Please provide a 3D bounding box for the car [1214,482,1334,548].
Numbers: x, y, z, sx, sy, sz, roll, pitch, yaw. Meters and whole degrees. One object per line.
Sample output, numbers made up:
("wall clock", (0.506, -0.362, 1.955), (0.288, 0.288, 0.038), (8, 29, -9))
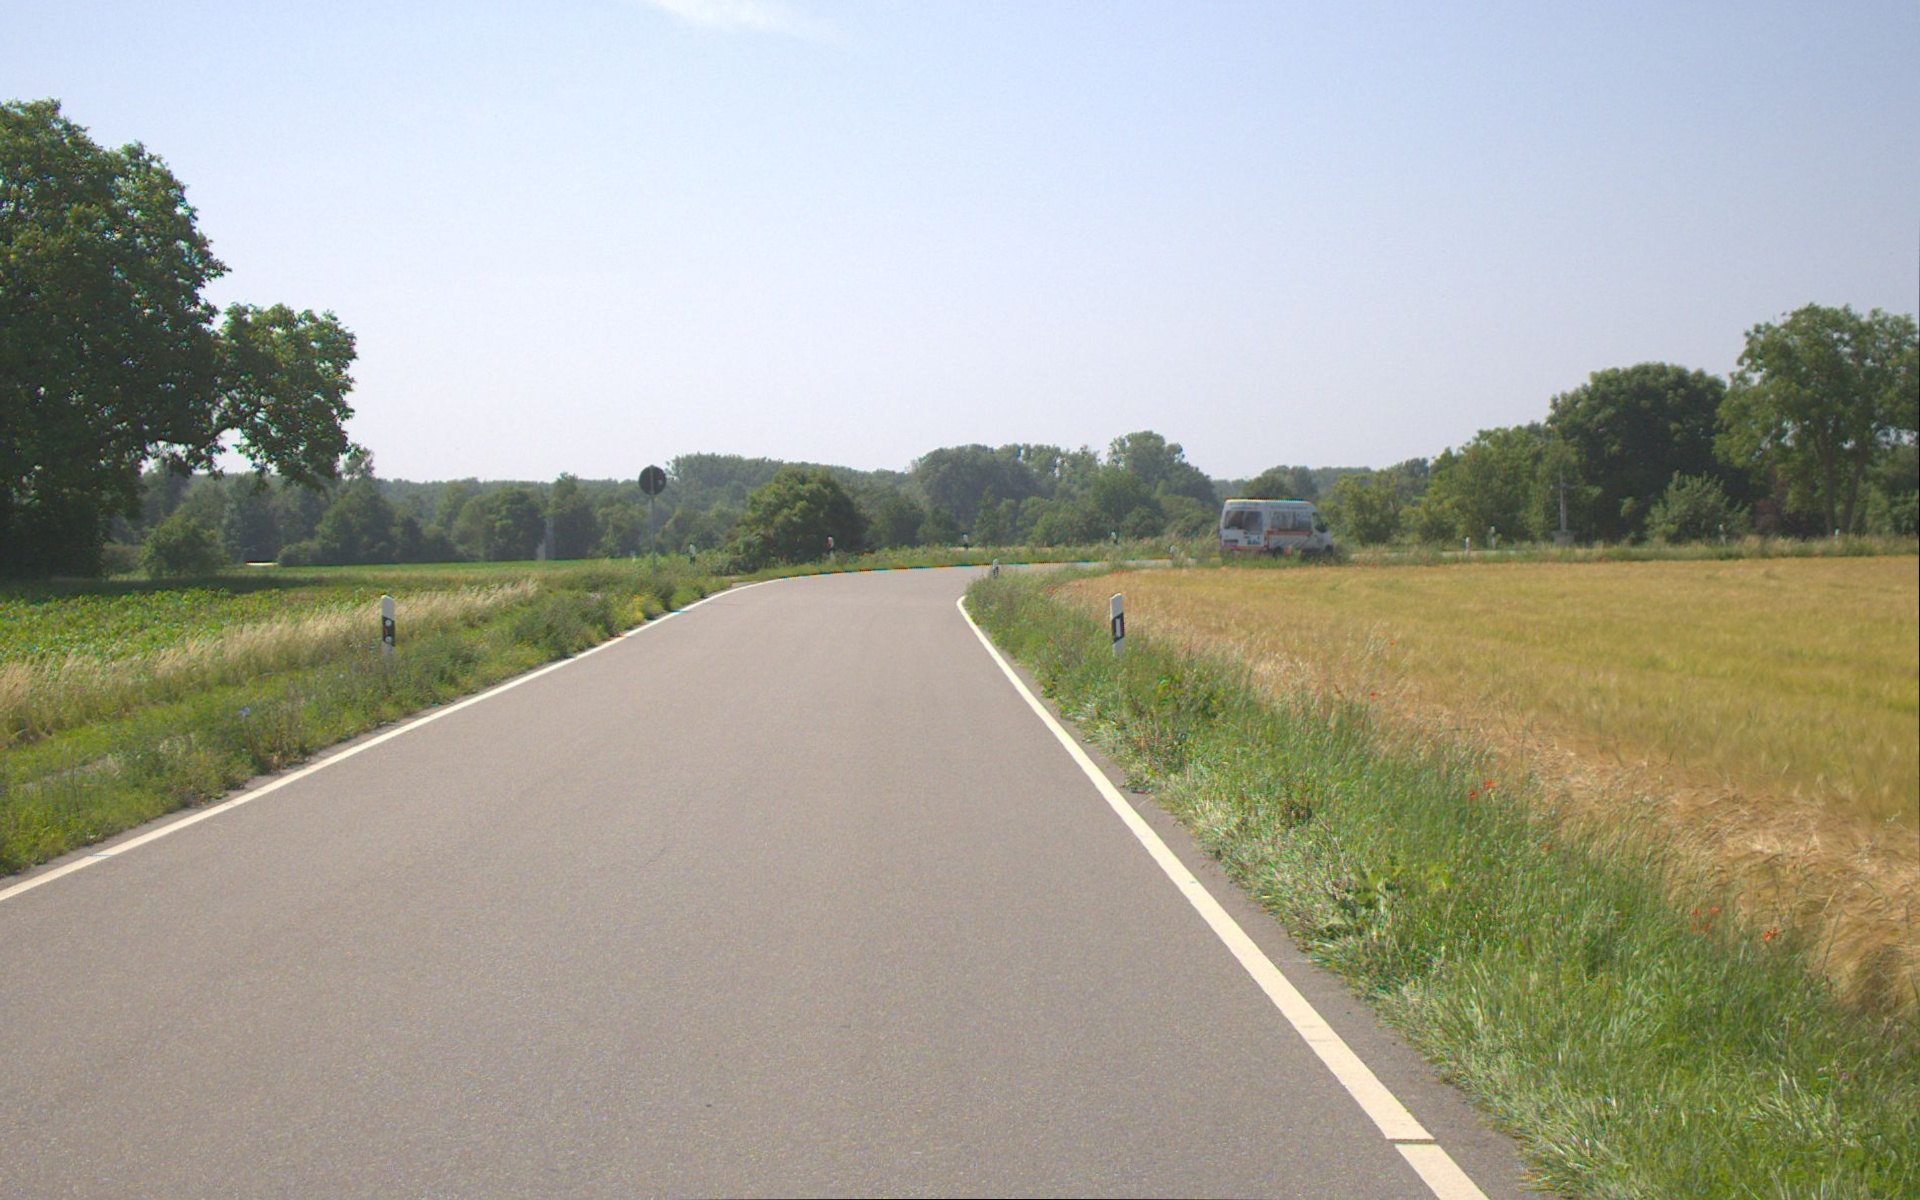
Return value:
("car", (11.758, -3.194, 128.259), (2.108, 2.359, 5.677), (-1, 2, 32))
